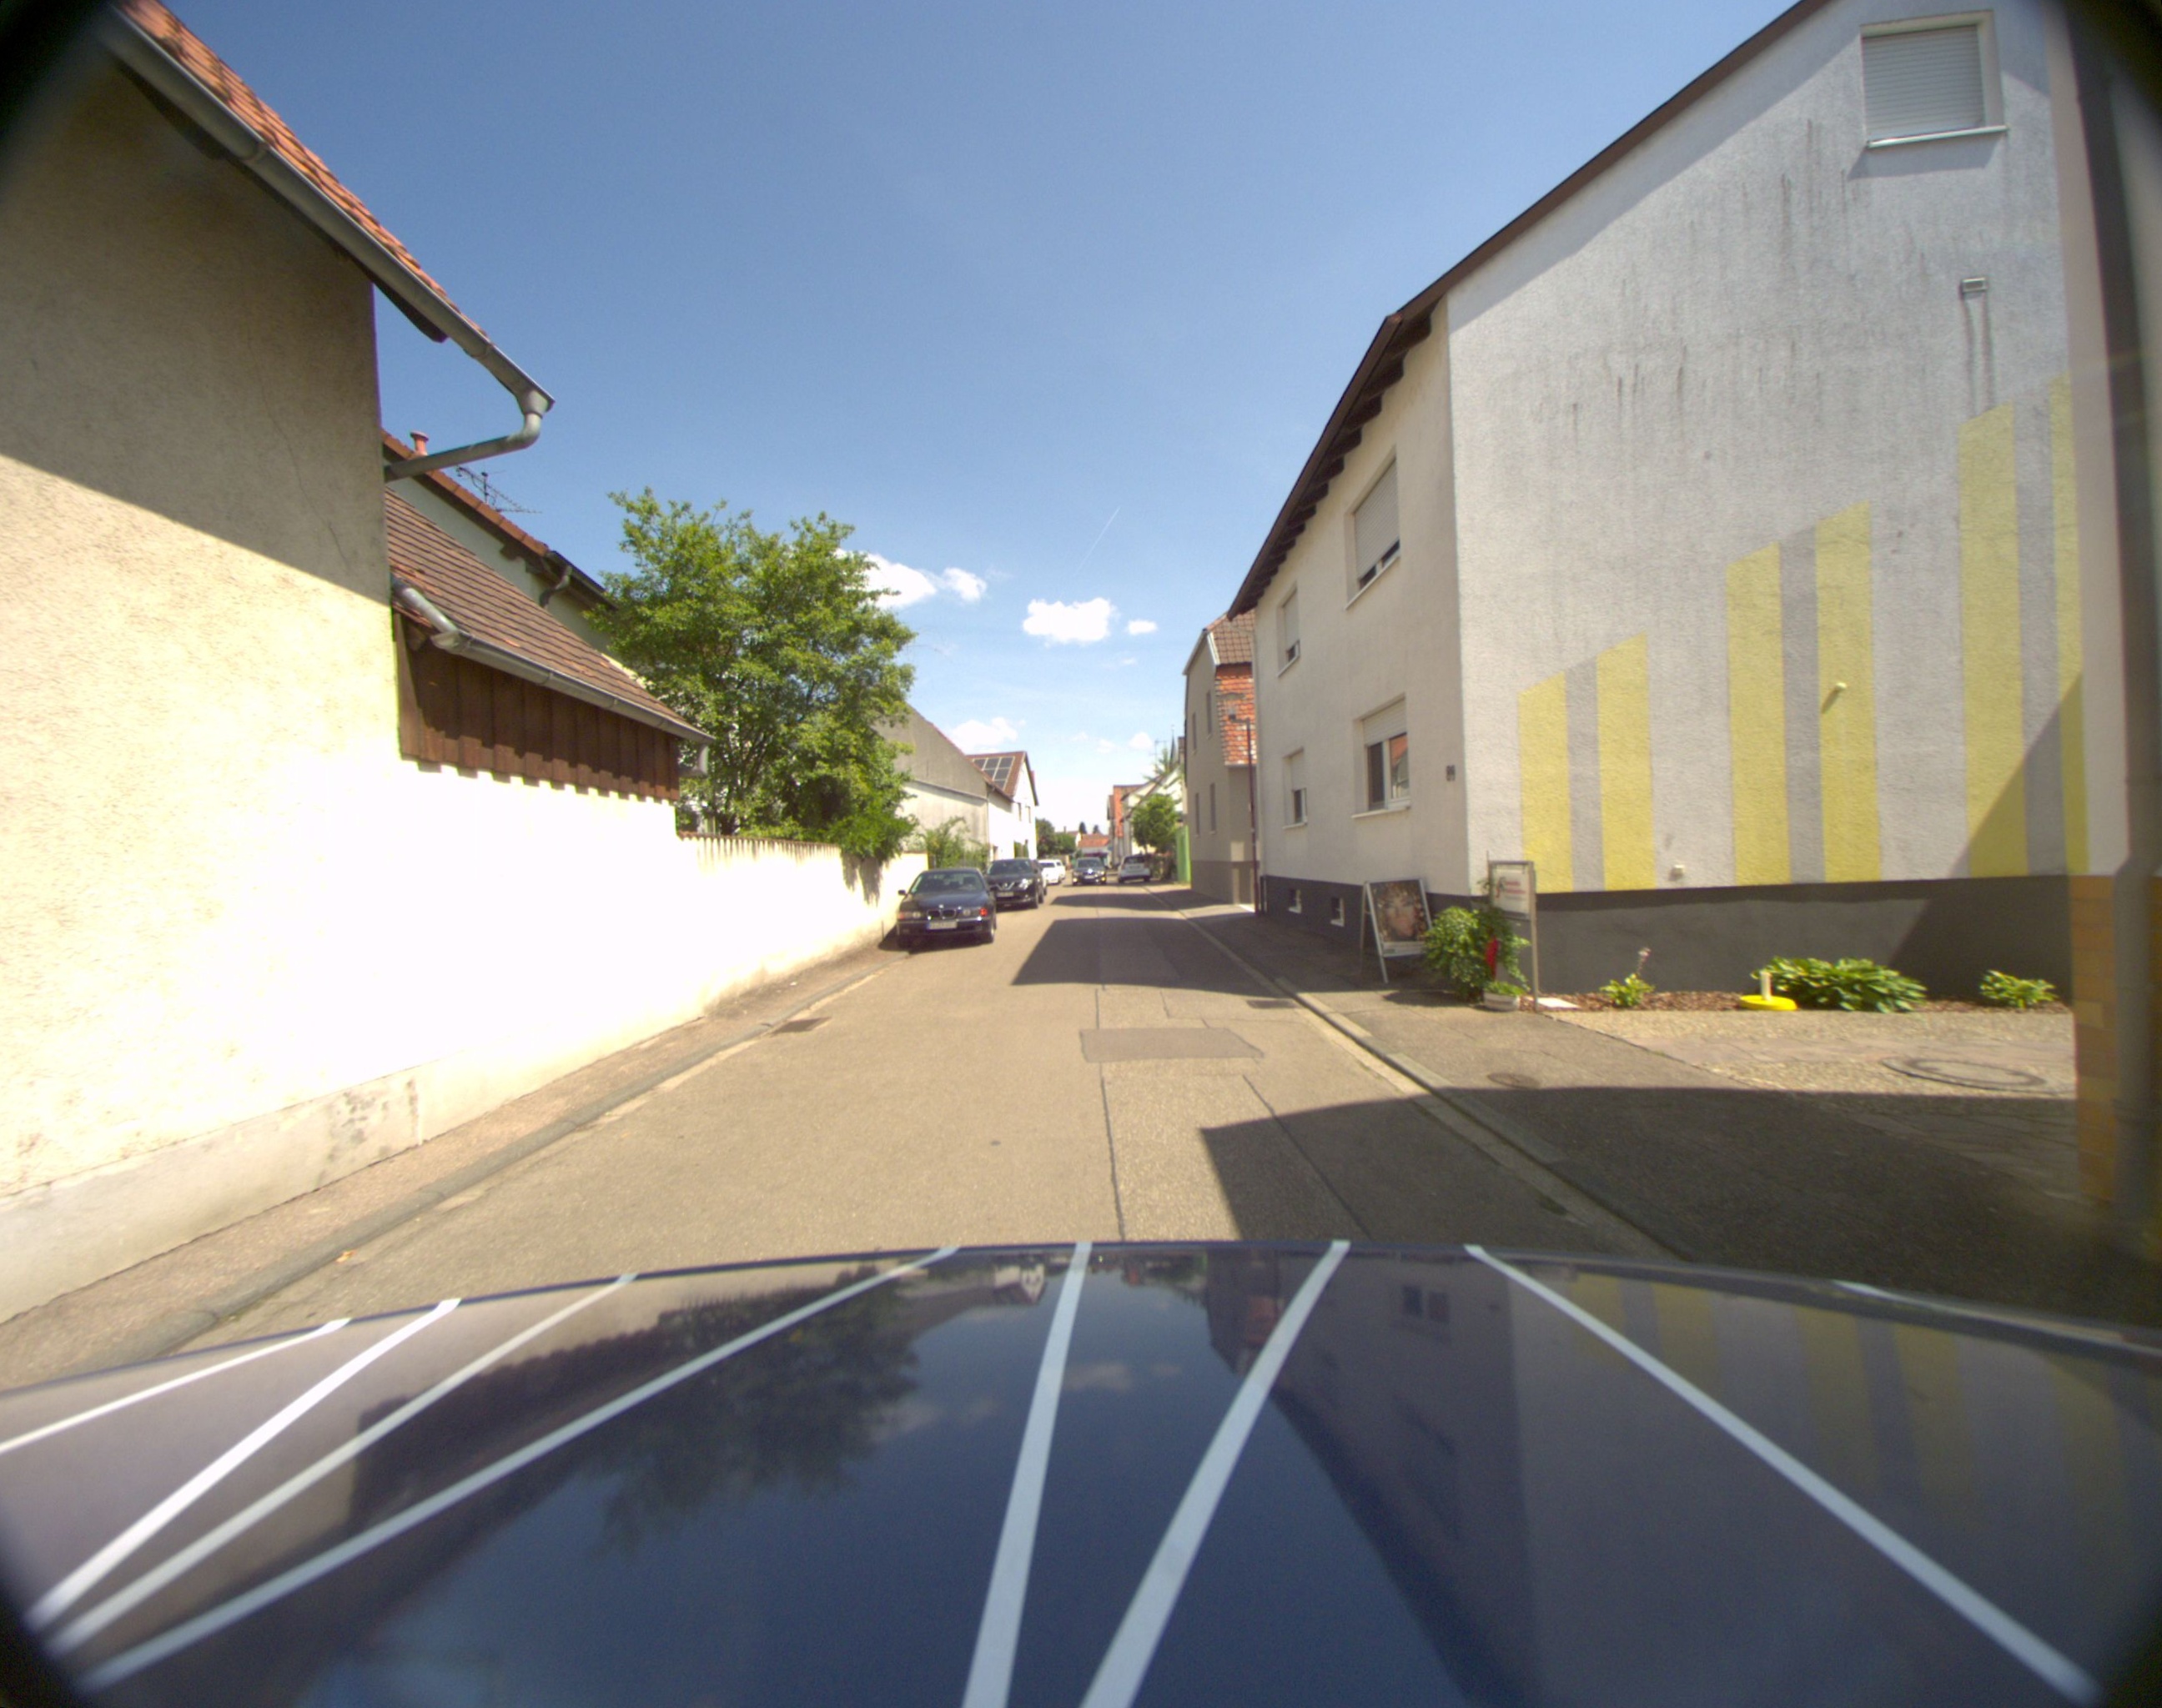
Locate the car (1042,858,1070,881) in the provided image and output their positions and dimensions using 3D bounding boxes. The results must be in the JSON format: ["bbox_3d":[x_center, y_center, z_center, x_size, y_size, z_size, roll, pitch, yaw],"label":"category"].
[{"bbox_3d":[-1.853,1.116,57.333,1.784,1.492,4.039,-5,1,1],"label":"car"}]

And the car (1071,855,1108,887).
[{"bbox_3d":[0.474,0.868,40.646,1.785,1.527,4.709,-2,1,1],"label":"car"}]

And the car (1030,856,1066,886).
[{"bbox_3d":[-1.909,0.974,44.858,1.784,1.492,4.039,-5,1,1],"label":"car"}]

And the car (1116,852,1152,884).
[{"bbox_3d":[3.009,0.771,43.958,1.784,1.600,4.000,-5,1,1],"label":"car"}]

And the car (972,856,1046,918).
[{"bbox_3d":[-2.187,0.971,24.226,1.784,1.600,4.000,-5,1,1],"label":"car"}]

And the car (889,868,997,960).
[{"bbox_3d":[-2.625,1.072,15.279,1.785,1.470,3.998,-2,0,-6],"label":"car"}]
